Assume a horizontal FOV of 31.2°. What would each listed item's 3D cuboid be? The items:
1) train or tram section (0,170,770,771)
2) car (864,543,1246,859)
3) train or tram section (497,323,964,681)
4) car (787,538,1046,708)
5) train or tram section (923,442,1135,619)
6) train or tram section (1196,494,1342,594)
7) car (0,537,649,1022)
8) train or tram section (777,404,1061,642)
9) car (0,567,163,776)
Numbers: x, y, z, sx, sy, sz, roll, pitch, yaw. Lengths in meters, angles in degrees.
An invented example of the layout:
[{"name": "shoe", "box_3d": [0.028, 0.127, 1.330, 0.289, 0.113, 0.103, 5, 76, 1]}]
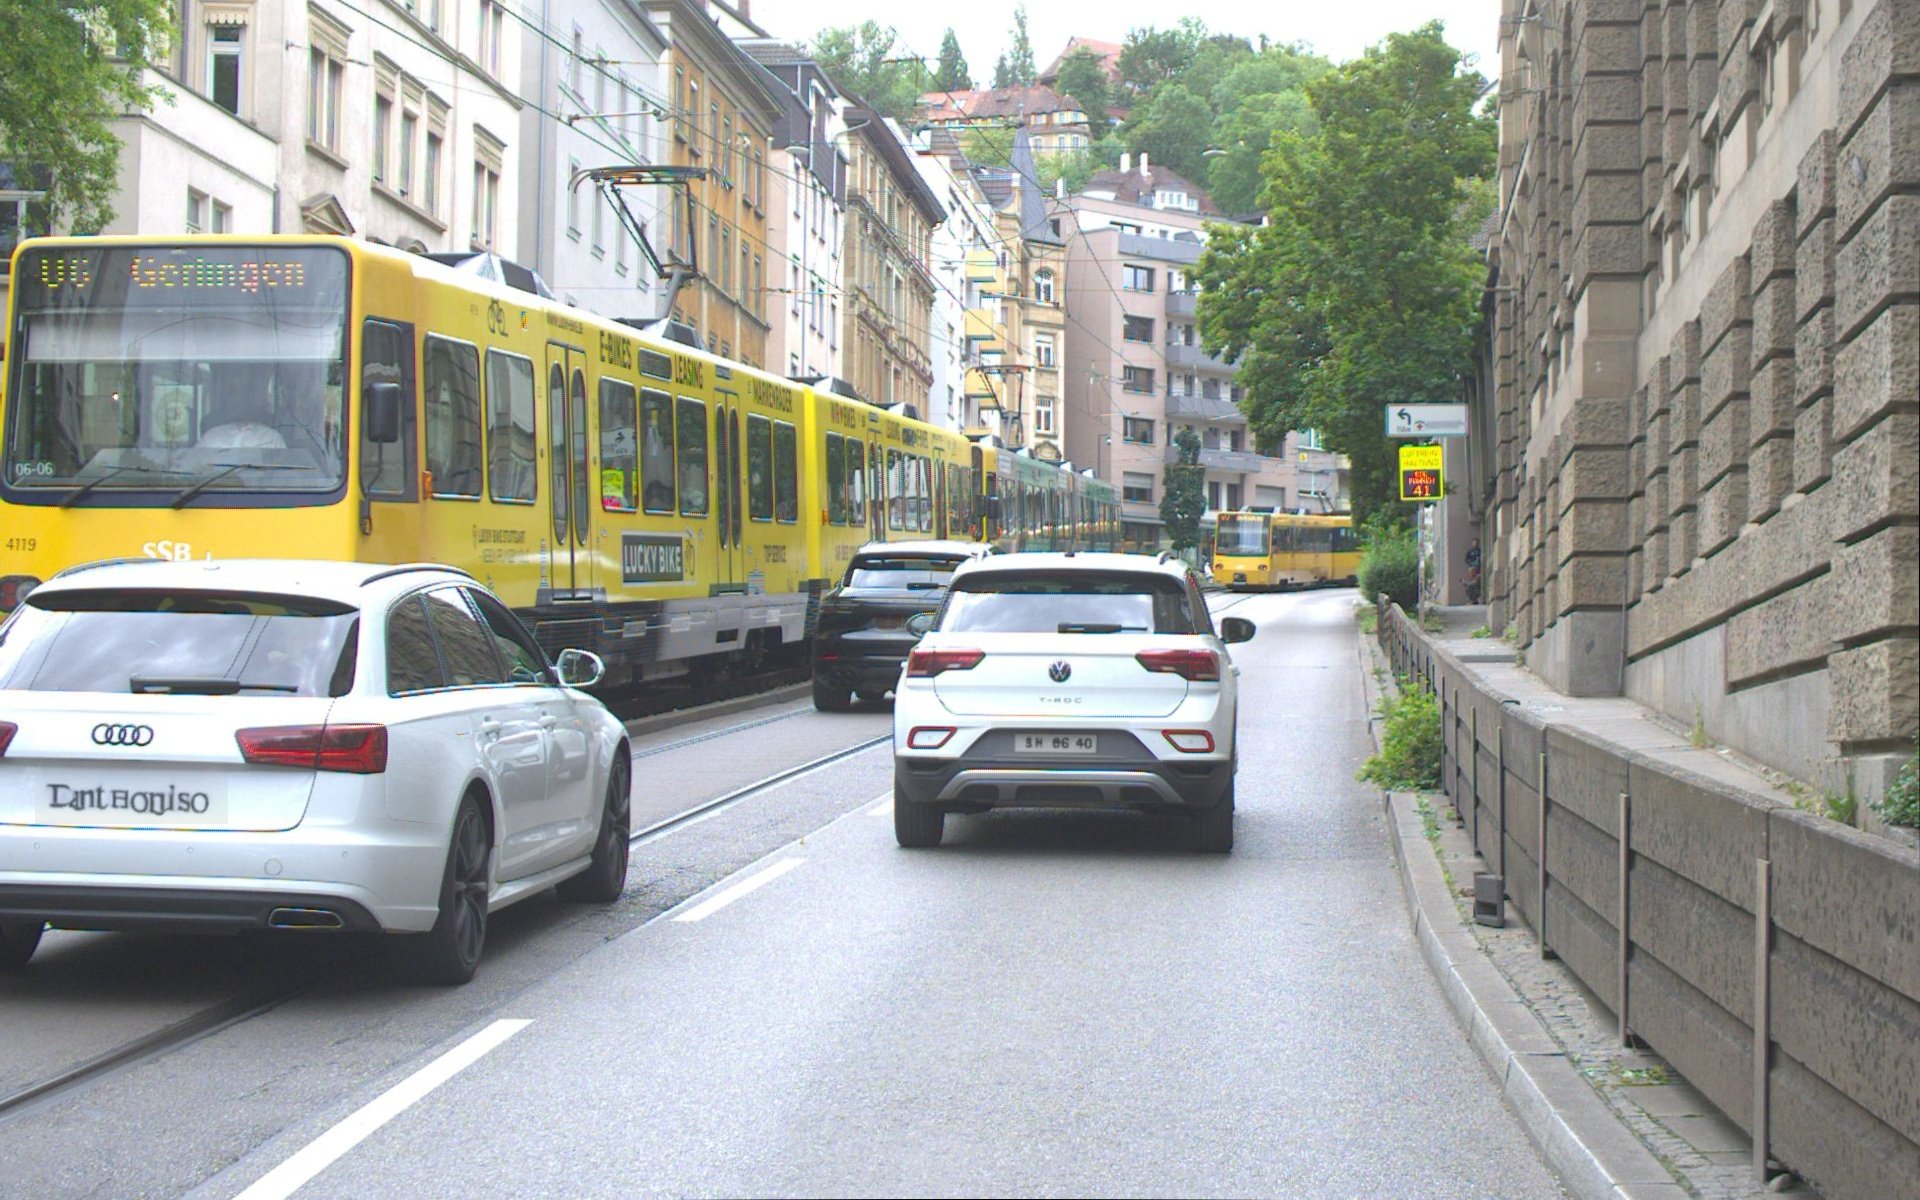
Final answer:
[{"name": "train or tram section", "box_3d": [-4.212, -0.914, 29.109, 2.883, 3.713, 14.853, 2, 1, 5]}, {"name": "car", "box_3d": [0.602, 0.474, 19.043, 1.879, 1.549, 4.000, 0, 1, 4]}, {"name": "train or tram section", "box_3d": [-2.437, -1.148, 45.780, 2.877, 3.713, 18.698, 2, 1, 6]}, {"name": "car", "box_3d": [-0.356, 0.189, 34.233, 2.038, 1.566, 4.357, 1, 1, 7]}, {"name": "train or tram section", "box_3d": [1.944, -1.590, 83.028, 2.877, 3.713, 18.751, 2, 1, 8]}, {"name": "train or tram section", "box_3d": [14.067, -2.476, 154.358, 3.019, 4.199, 18.845, 1, 1, 16]}, {"name": "car", "box_3d": [-2.484, 0.517, 13.073, 1.879, 1.450, 4.617, 2, 1, 3]}, {"name": "train or tram section", "box_3d": [-0.388, -1.335, 64.420, 2.877, 3.713, 18.752, 2, 1, 6]}, {"name": "car", "box_3d": [-7.802, 0.500, 26.477, 1.994, 1.498, 3.998, 1, 1, 7]}]
